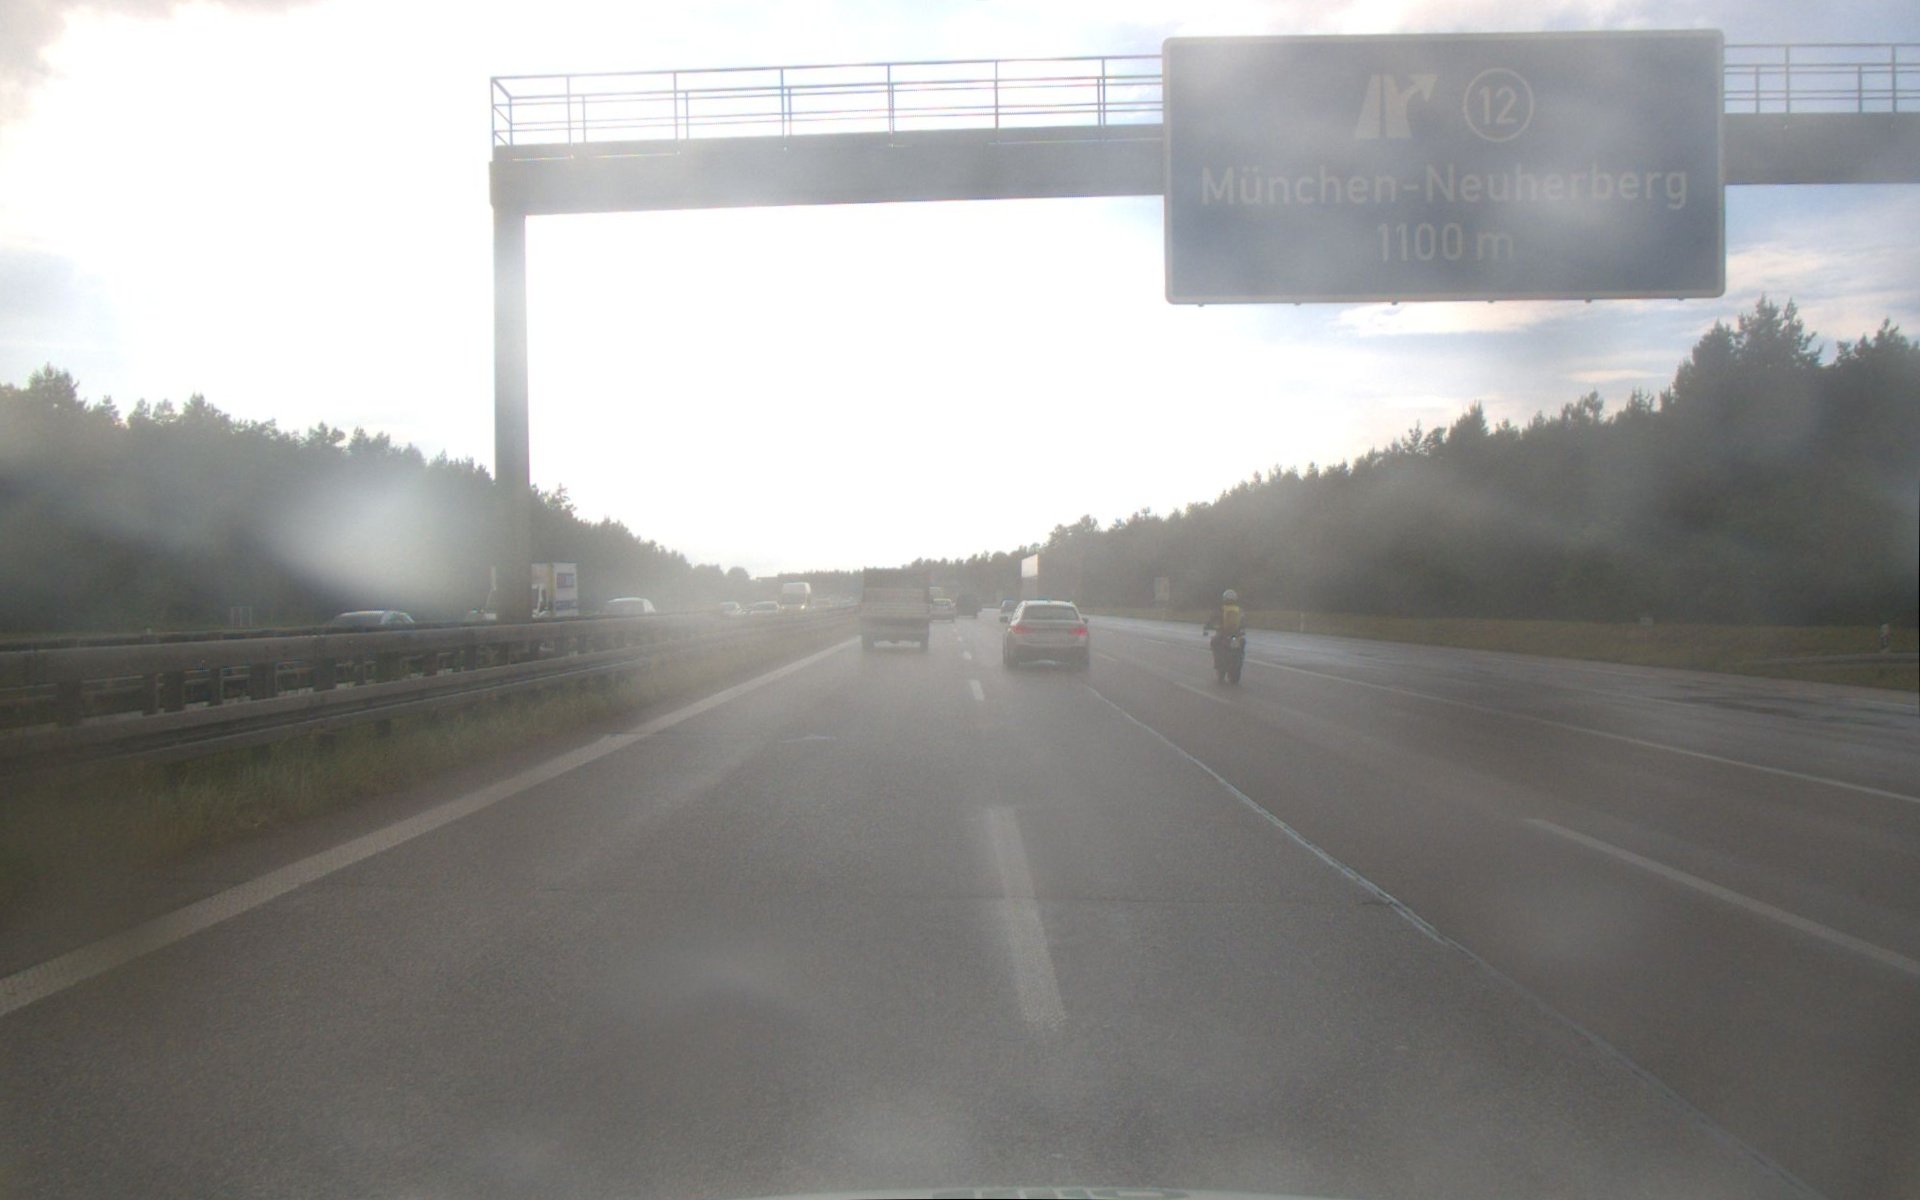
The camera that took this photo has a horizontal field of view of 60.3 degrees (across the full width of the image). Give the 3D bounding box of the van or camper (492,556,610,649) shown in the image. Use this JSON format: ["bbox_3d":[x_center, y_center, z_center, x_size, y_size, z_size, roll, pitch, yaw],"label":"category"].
[{"bbox_3d":[-14.845,0.095,60.612,2.253,3.167,7.544,0,0,1],"label":"van or camper"}]

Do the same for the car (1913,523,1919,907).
[{"bbox_3d":[5.813,0.586,5.976,1.923,1.935,4.881,0,0,0],"label":"car"}]

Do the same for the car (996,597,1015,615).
[{"bbox_3d":[5.379,0.755,196.802,1.953,2.049,3.999,2,0,-1],"label":"car"}]

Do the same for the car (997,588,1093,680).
[{"bbox_3d":[1.910,0.725,37.790,2.034,1.918,5.012,1,0,2],"label":"car"}]

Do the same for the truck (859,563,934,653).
[{"bbox_3d":[-1.888,0.228,49.243,2.094,2.533,5.310,0,0,-2],"label":"truck"}]

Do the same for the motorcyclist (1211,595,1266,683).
[{"bbox_3d":[5.284,0.728,31.438,0.873,1.643,0.959,0,0,-1],"label":"motorcyclist"}]

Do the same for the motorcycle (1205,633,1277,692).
[{"bbox_3d":[5.319,1.173,31.467,0.979,1.049,2.173,0,0,0],"label":"motorcycle"}]

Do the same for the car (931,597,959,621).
[{"bbox_3d":[-1.011,0.579,108.883,1.793,1.492,3.999,1,0,0],"label":"car"}]

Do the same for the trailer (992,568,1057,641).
[{"bbox_3d":[3.749,0.292,99.187,2.278,4.072,13.398,0,0,-5],"label":"trailer"}]

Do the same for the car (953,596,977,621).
[{"bbox_3d":[0.392,0.686,139.080,1.869,2.049,3.999,1,0,-2],"label":"car"}]
